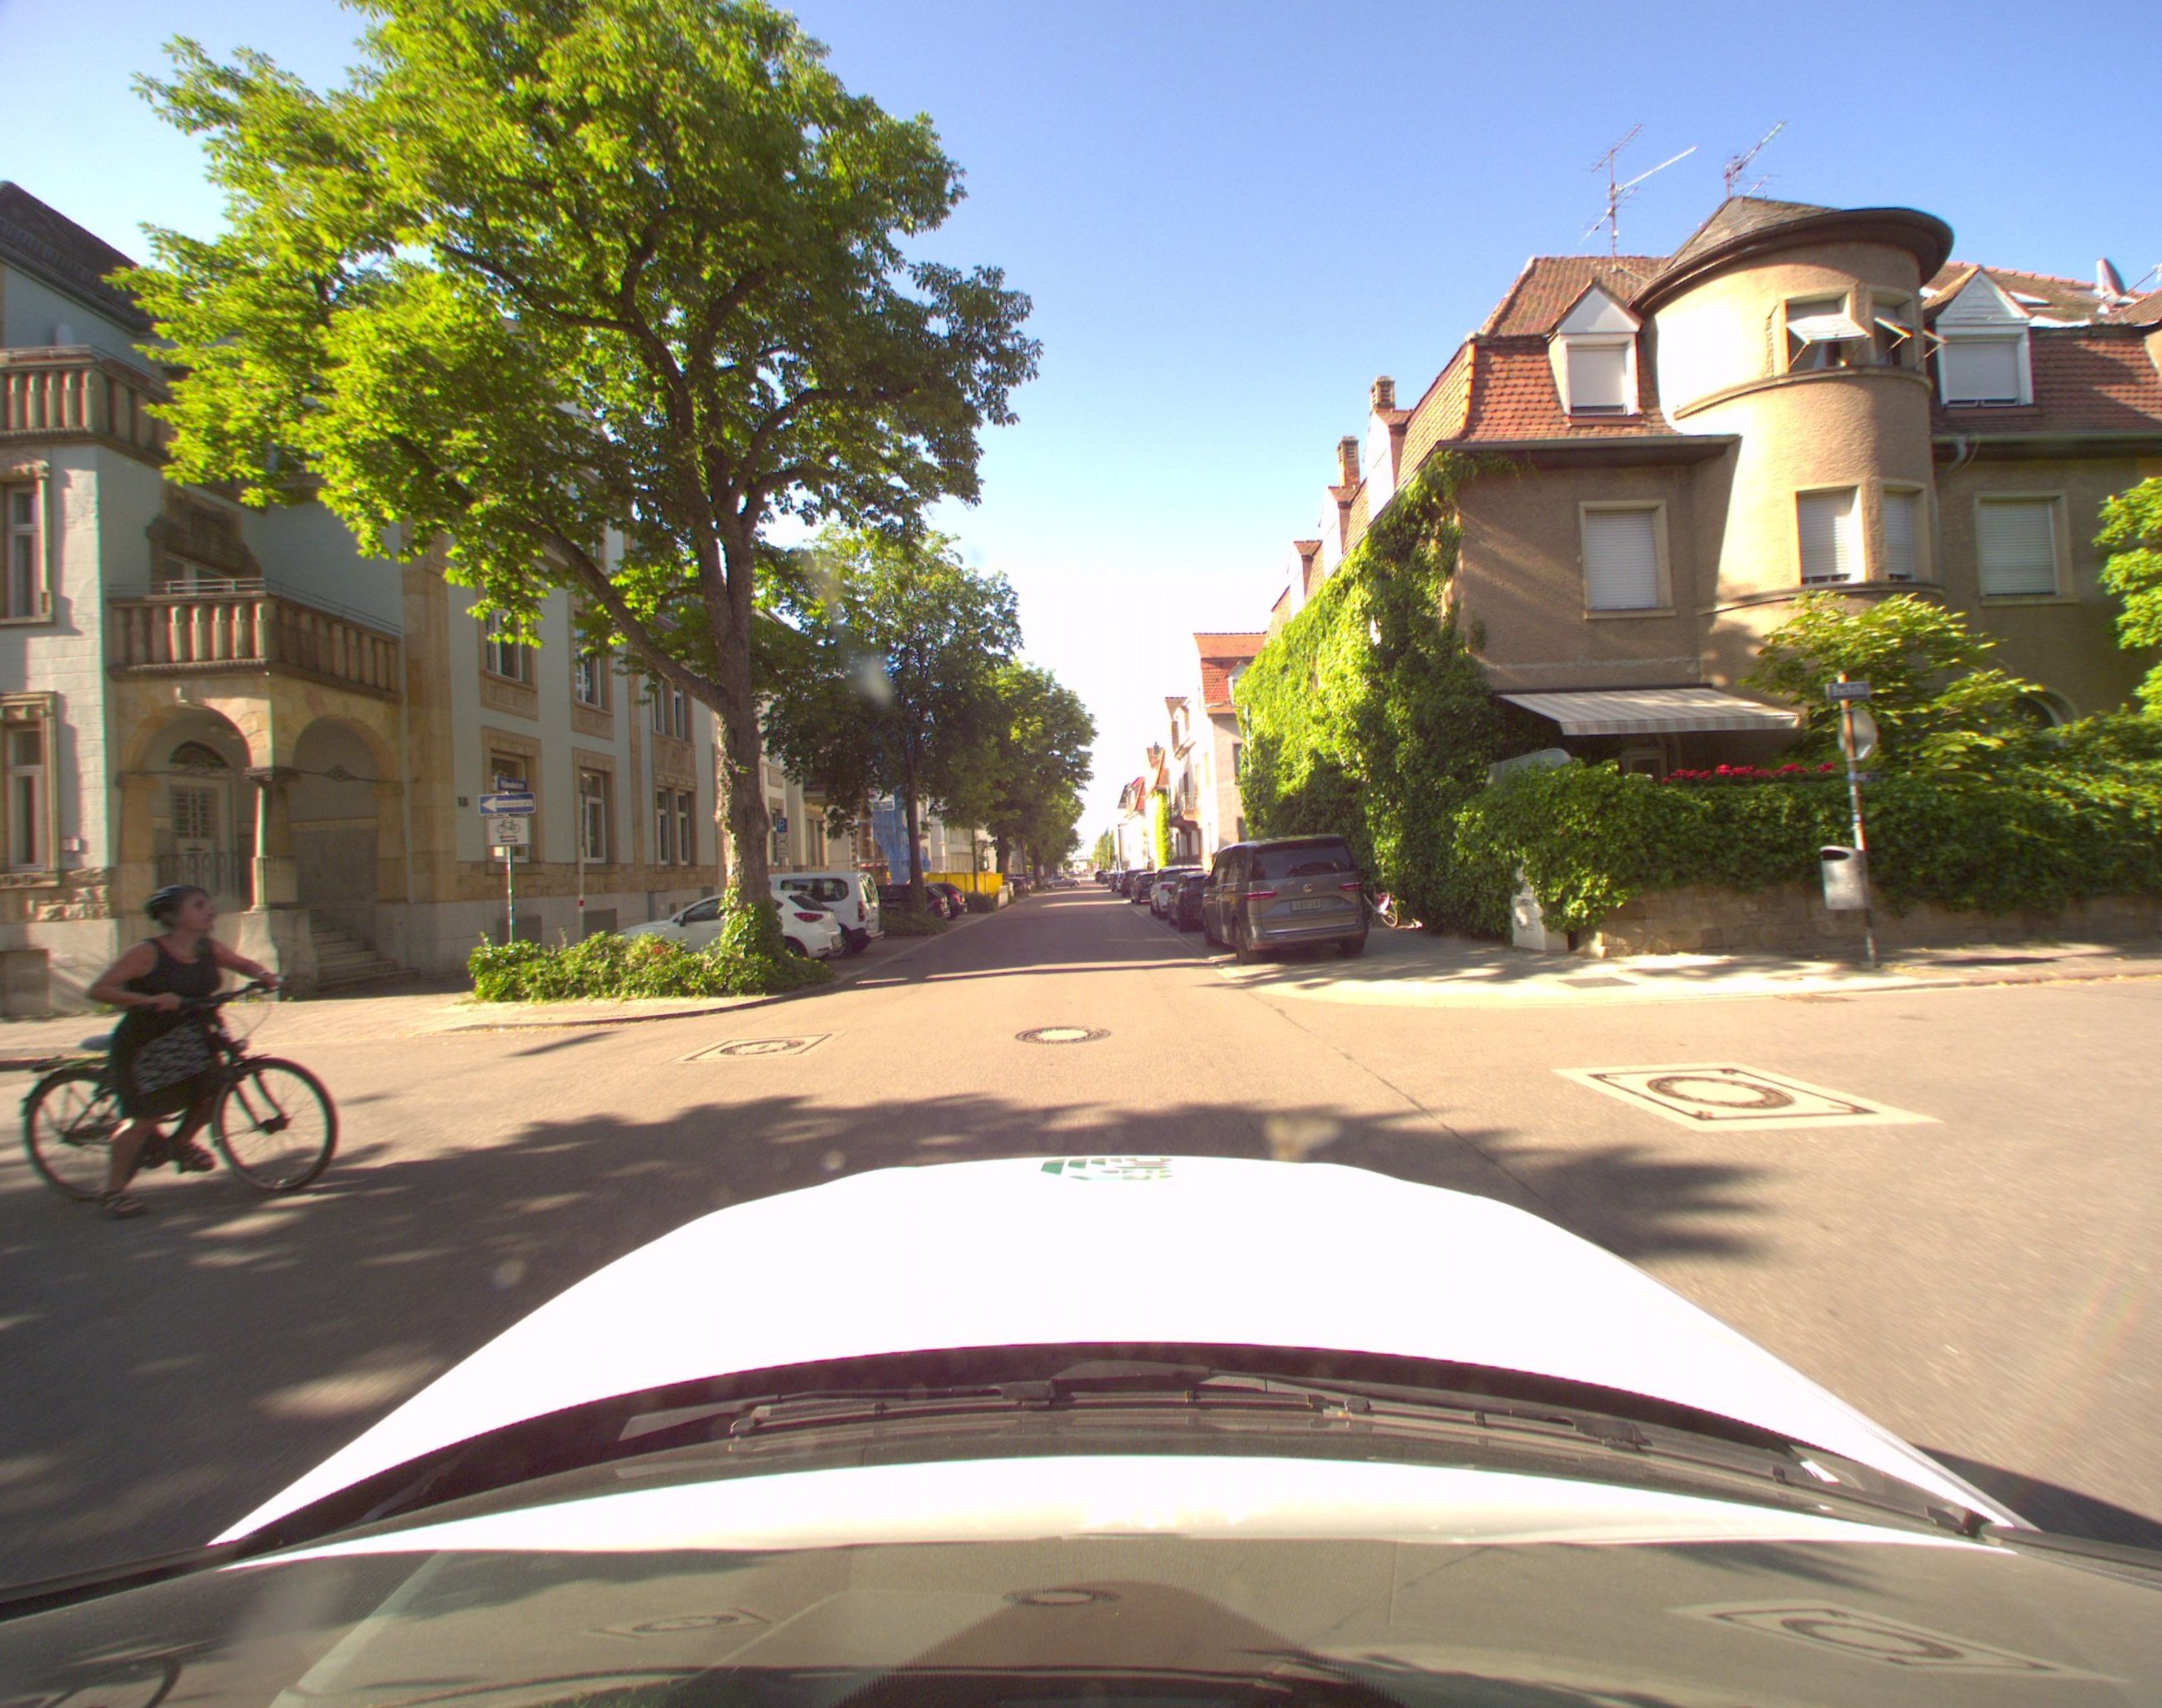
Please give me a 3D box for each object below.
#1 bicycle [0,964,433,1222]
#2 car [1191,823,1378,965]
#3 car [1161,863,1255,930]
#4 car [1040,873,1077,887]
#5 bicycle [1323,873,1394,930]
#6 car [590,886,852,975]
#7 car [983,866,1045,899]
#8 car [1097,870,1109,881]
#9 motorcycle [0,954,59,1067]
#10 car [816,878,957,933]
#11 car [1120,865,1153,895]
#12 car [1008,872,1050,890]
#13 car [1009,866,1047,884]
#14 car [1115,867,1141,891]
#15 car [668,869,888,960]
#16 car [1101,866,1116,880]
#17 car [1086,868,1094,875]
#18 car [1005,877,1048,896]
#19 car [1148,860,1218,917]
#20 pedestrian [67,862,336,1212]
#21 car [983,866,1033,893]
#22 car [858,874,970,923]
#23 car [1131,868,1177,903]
[{"bbox_3d":[-4.799,1.244,4.385,1.982,1.066,0.760,-4,0,3],"label":"bicycle"},{"bbox_3d":[3.252,0.614,14.073,1.898,1.870,4.672,-6,-1,0],"label":"car"},{"bbox_3d":[3.116,1.019,20.743,1.685,1.398,3.804,-6,-1,0],"label":"car"},{"bbox_3d":[-2.589,3.038,94.361,3.999,1.409,1.691,-2,-1,-19],"label":"car"},{"bbox_3d":[5.566,0.917,16.493,0.586,1.023,2.369,-3,-1,0],"label":"bicycle"},{"bbox_3d":[-6.422,1.342,14.916,3.979,1.464,1.795,-1,-2,-4],"label":"car"},{"bbox_3d":[-4.546,1.937,55.177,3.985,2.014,1.994,-3,-1,-9],"label":"car"},{"bbox_3d":[3.574,3.413,131.804,1.765,1.631,3.866,-3,-1,1],"label":"car"},{"bbox_3d":[-12.702,1.761,8.894,2.199,1.176,0.900,-3,-3,8],"label":"motorcycle"},{"bbox_3d":[-6.142,1.630,26.052,3.972,1.469,1.864,-3,0,1],"label":"car"},{"bbox_3d":[3.286,1.531,48.738,1.765,1.631,3.866,-3,-1,1],"label":"car"},{"bbox_3d":[-5.178,2.682,81.719,3.991,1.735,1.895,-1,0,2],"label":"car"},{"bbox_3d":[-5.745,2.240,88.469,3.991,1.841,2.001,-1,0,2],"label":"car"},{"bbox_3d":[3.515,1.826,61.120,1.765,1.631,3.866,-3,-1,1],"label":"car"},{"bbox_3d":[-6.278,1.231,17.249,3.979,1.761,1.795,-1,-2,-4],"label":"car"},{"bbox_3d":[3.497,2.412,103.212,1.765,1.631,3.866,-3,-1,1],"label":"car"},{"bbox_3d":[2.190,4.296,202.519,1.765,1.631,3.866,-3,-1,1],"label":"car"},{"bbox_3d":[-5.269,3.133,79.289,3.991,1.735,1.895,-1,0,2],"label":"car"},{"bbox_3d":[3.195,1.050,26.137,1.783,1.618,3.866,-3,-1,1],"label":"car"},{"bbox_3d":[-4.671,0.915,4.373,0.628,1.694,0.653,-4,-1,3],"label":"pedestrian"},{"bbox_3d":[-6.107,2.130,68.123,3.985,2.014,1.994,-3,-1,-9],"label":"car"},{"bbox_3d":[-6.253,1.649,30.949,3.985,1.552,1.832,-3,-1,-9],"label":"car"},{"bbox_3d":[3.313,1.400,37.569,1.765,1.455,3.866,-3,-1,1],"label":"car"}]
